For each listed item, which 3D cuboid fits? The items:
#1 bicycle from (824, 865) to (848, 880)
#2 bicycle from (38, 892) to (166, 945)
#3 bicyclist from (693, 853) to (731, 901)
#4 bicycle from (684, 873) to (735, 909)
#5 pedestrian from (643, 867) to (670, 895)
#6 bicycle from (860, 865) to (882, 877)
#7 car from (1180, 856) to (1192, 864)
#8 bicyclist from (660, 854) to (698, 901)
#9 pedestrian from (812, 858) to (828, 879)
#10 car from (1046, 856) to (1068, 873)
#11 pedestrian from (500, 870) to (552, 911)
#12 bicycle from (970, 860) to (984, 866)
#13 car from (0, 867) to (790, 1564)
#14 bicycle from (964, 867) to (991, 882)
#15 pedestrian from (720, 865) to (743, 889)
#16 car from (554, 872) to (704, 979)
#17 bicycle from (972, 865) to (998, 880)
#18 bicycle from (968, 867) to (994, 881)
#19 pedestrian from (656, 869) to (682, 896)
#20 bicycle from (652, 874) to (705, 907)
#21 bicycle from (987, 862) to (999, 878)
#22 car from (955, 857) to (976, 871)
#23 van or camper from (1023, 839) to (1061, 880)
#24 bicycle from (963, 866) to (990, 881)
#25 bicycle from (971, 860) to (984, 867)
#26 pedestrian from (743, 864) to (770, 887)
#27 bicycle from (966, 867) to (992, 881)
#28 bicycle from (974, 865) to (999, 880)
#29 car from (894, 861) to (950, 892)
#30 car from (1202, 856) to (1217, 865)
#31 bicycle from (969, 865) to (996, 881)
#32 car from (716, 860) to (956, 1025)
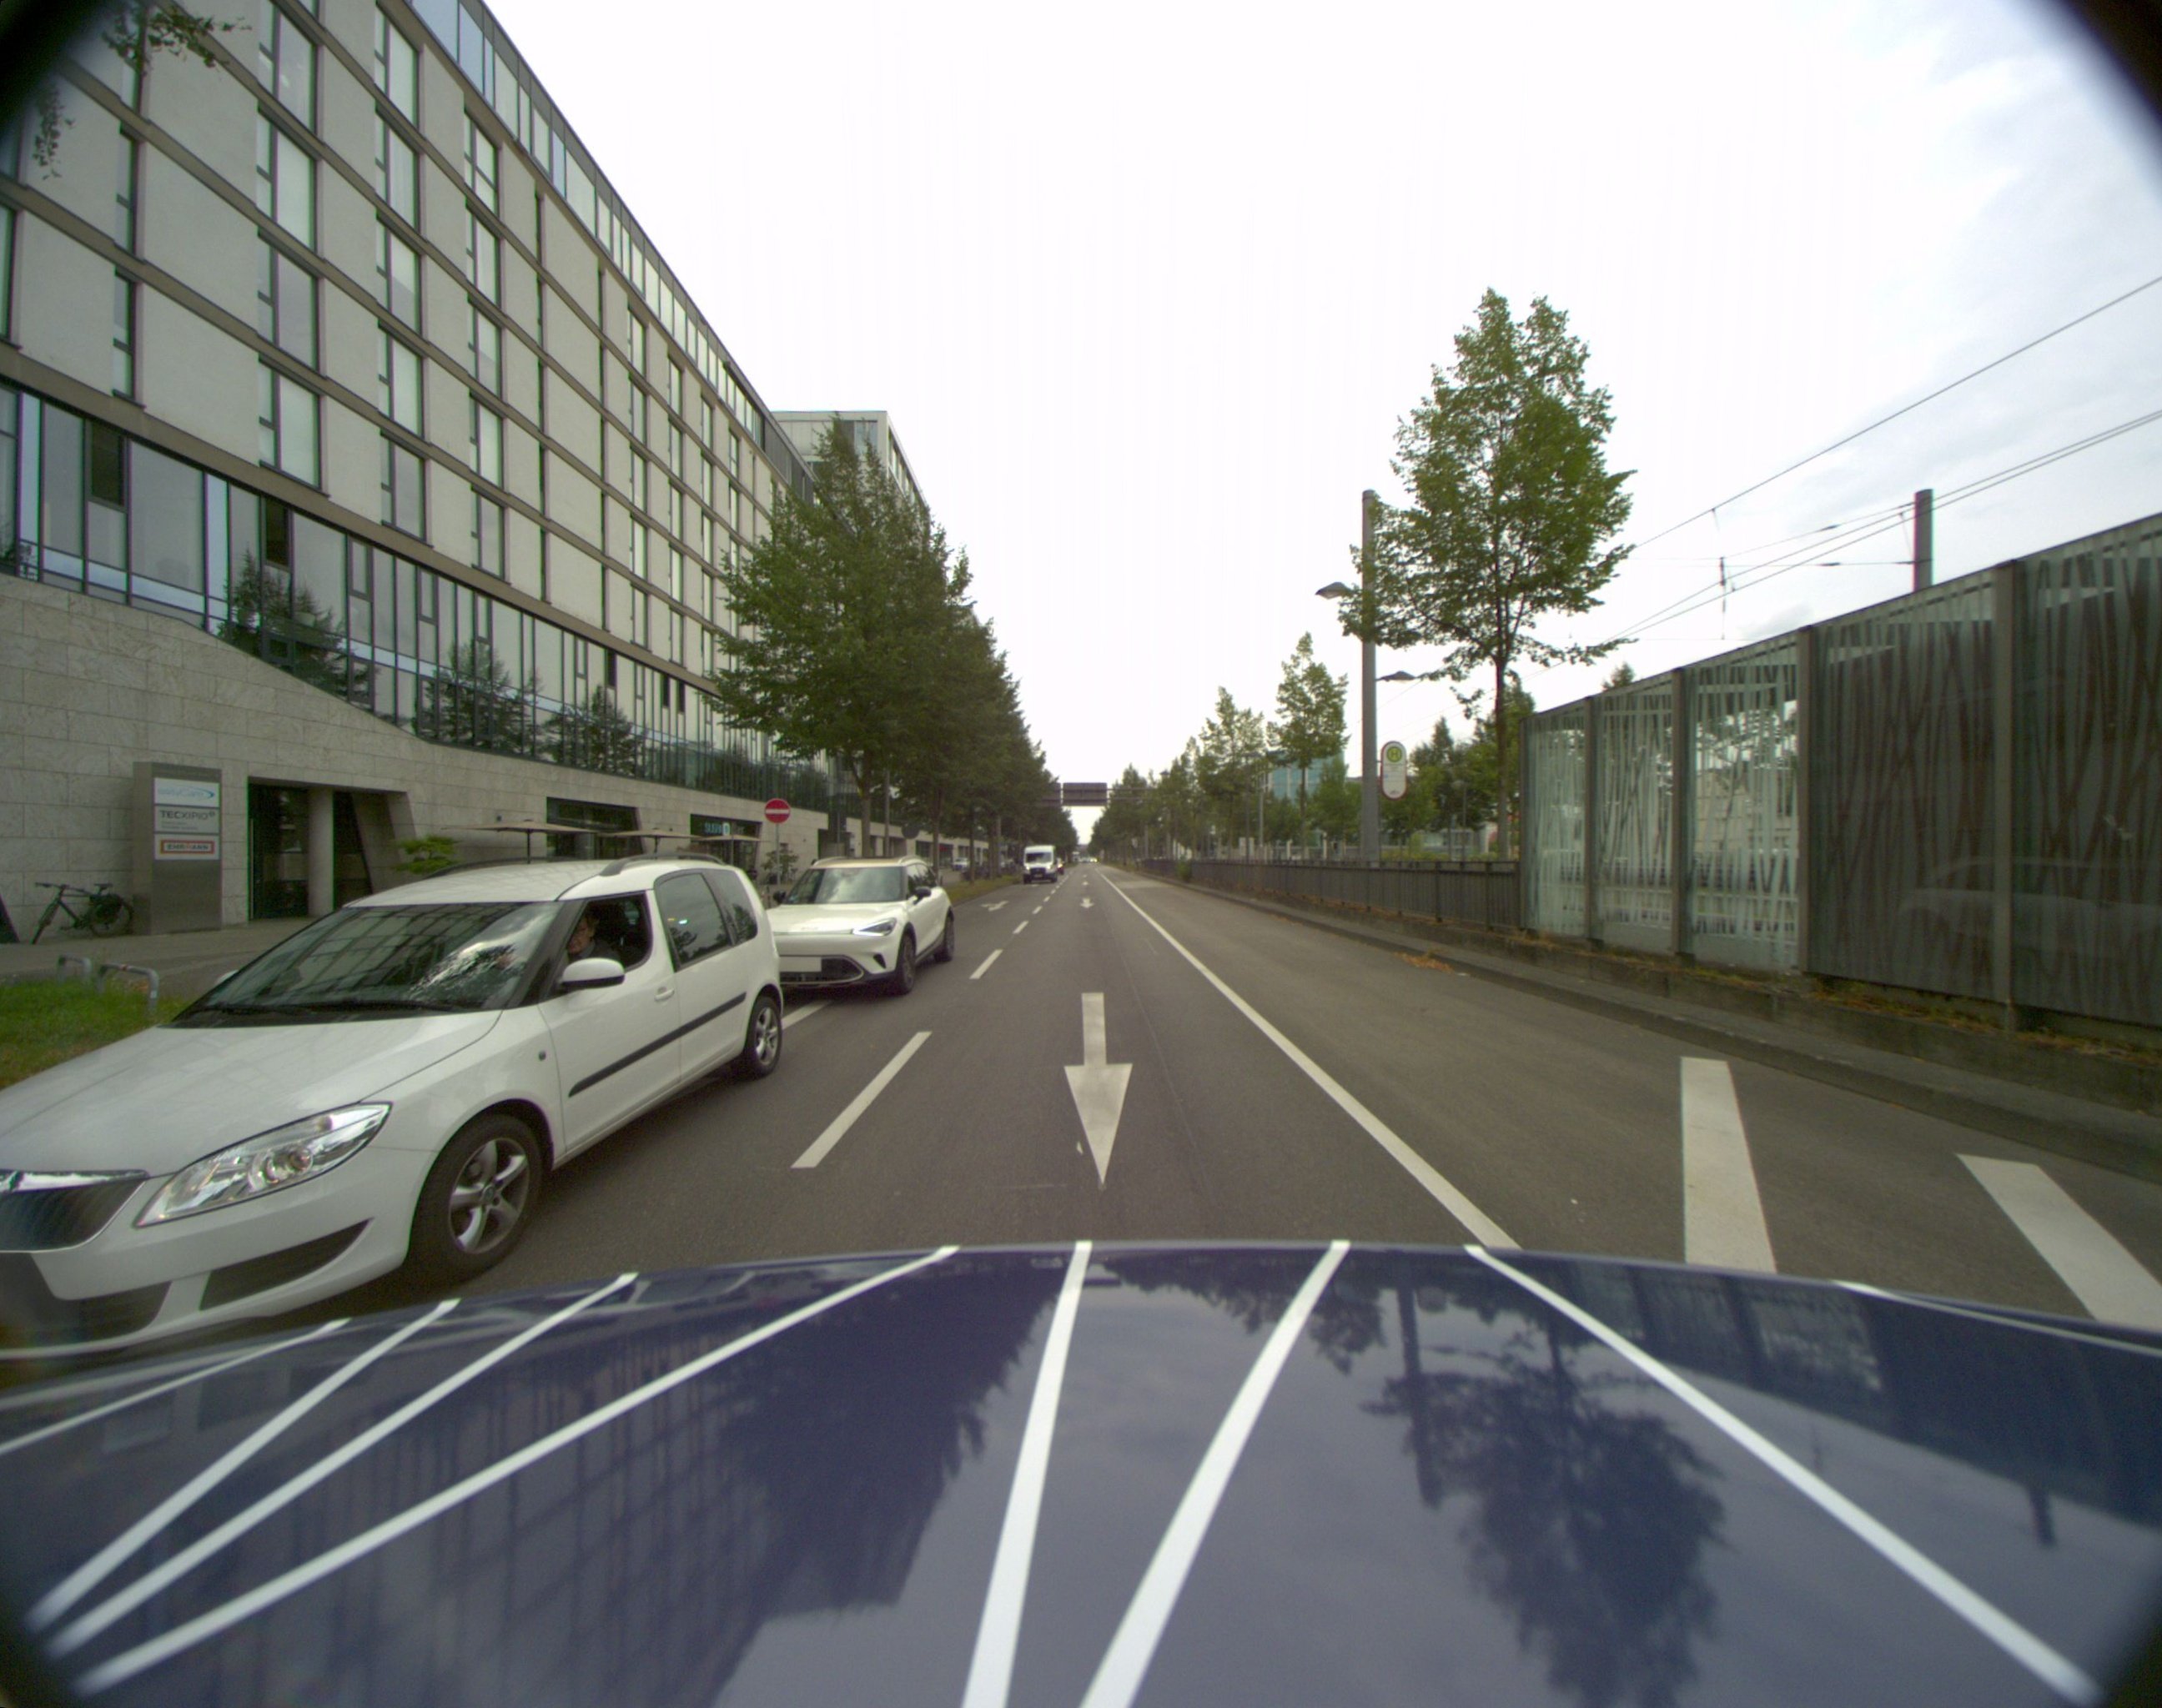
[{"bbox_3d":[-17.783,1.337,55.217,1.605,1.020,0.609,0,0,-27],"label":"bicycle"},{"bbox_3d":[-18.787,1.214,14.634,0.519,0.905,1.493,0,0,1],"label":"bicycle"},{"bbox_3d":[-12.476,0.768,25.709,0.726,1.573,0.990,1,1,3],"label":"bicyclist"},{"bbox_3d":[-12.505,1.217,25.644,0.675,1.136,2.008,0,-1,2],"label":"bicycle"},{"bbox_3d":[-18.130,1.158,32.436,0.720,1.185,0.759,0,0,0],"label":"pedestrian"},{"bbox_3d":[-17.216,1.403,62.308,1.602,1.020,0.533,0,0,-3],"label":"bicycle"},{"bbox_3d":[23.696,1.375,172.292,1.998,1.933,5.096,0,0,0],"label":"car"},{"bbox_3d":[-13.676,0.782,25.883,0.726,1.573,0.990,1,1,2],"label":"bicyclist"},{"bbox_3d":[-17.625,0.983,51.296,0.758,1.398,0.721,0,0,8],"label":"pedestrian"},{"bbox_3d":[-2.256,0.989,72.568,1.973,1.528,4.139,0,0,1],"label":"car"},{"bbox_3d":[-17.215,1.128,23.594,0.899,1.221,0.950,0,0,5],"label":"pedestrian"},{"bbox_3d":[-17.925,1.552,131.157,2.426,1.170,1.202,-1,0,-7],"label":"bicycle"},{"bbox_3d":[-3.178,0.925,3.870,1.783,1.647,4.023,0,0,1],"label":"car"},{"bbox_3d":[-7.714,1.529,56.656,1.865,0.946,0.501,-4,0,-3],"label":"bicycle"},{"bbox_3d":[-17.899,1.157,38.894,0.719,1.185,0.760,0,0,22],"label":"pedestrian"},{"bbox_3d":[-8.212,1.099,13.603,1.951,1.467,4.858,0,0,-34],"label":"car"},{"bbox_3d":[-7.610,1.487,60.328,1.936,1.059,0.543,-4,0,-8],"label":"bicycle"},{"bbox_3d":[-7.663,1.519,58.146,1.865,0.946,0.612,-4,0,-3],"label":"bicycle"},{"bbox_3d":[-18.112,1.253,33.413,0.720,1.185,0.759,0,0,2],"label":"pedestrian"},{"bbox_3d":[-13.704,1.226,25.944,0.675,1.036,2.008,-1,0,3],"label":"bicycle"},{"bbox_3d":[-6.149,1.109,53.230,0.712,1.109,2.202,-4,0,-7],"label":"bicycle"},{"bbox_3d":[-14.258,1.214,93.715,1.862,1.579,4.240,2,0,0],"label":"car"},{"bbox_3d":[-2.503,0.364,50.337,2.184,2.493,6.339,-2,0,0],"label":"van or camper"},{"bbox_3d":[-7.697,1.460,55.989,1.865,0.989,0.574,-4,0,-3],"label":"bicycle"},{"bbox_3d":[-17.728,1.550,129.931,2.238,1.170,0.975,-1,0,-7],"label":"bicycle"},{"bbox_3d":[-17.257,1.146,40.445,0.773,1.185,1.107,0,0,16],"label":"pedestrian"},{"bbox_3d":[-7.701,1.525,57.404,1.865,0.946,0.652,-4,0,-3],"label":"bicycle"},{"bbox_3d":[-7.595,1.486,60.907,1.936,1.059,0.543,-4,0,-8],"label":"bicycle"},{"bbox_3d":[-8.223,1.124,39.619,1.943,1.543,4.593,-1,0,0],"label":"car"},{"bbox_3d":[23.268,1.225,137.586,1.832,1.646,4.691,0,0,-2],"label":"car"},{"bbox_3d":[-7.650,1.464,58.837,1.935,1.059,0.705,-4,0,-3],"label":"bicycle"},{"bbox_3d":[-2.897,0.937,9.954,1.783,1.647,4.023,-2,0,0],"label":"car"}]
